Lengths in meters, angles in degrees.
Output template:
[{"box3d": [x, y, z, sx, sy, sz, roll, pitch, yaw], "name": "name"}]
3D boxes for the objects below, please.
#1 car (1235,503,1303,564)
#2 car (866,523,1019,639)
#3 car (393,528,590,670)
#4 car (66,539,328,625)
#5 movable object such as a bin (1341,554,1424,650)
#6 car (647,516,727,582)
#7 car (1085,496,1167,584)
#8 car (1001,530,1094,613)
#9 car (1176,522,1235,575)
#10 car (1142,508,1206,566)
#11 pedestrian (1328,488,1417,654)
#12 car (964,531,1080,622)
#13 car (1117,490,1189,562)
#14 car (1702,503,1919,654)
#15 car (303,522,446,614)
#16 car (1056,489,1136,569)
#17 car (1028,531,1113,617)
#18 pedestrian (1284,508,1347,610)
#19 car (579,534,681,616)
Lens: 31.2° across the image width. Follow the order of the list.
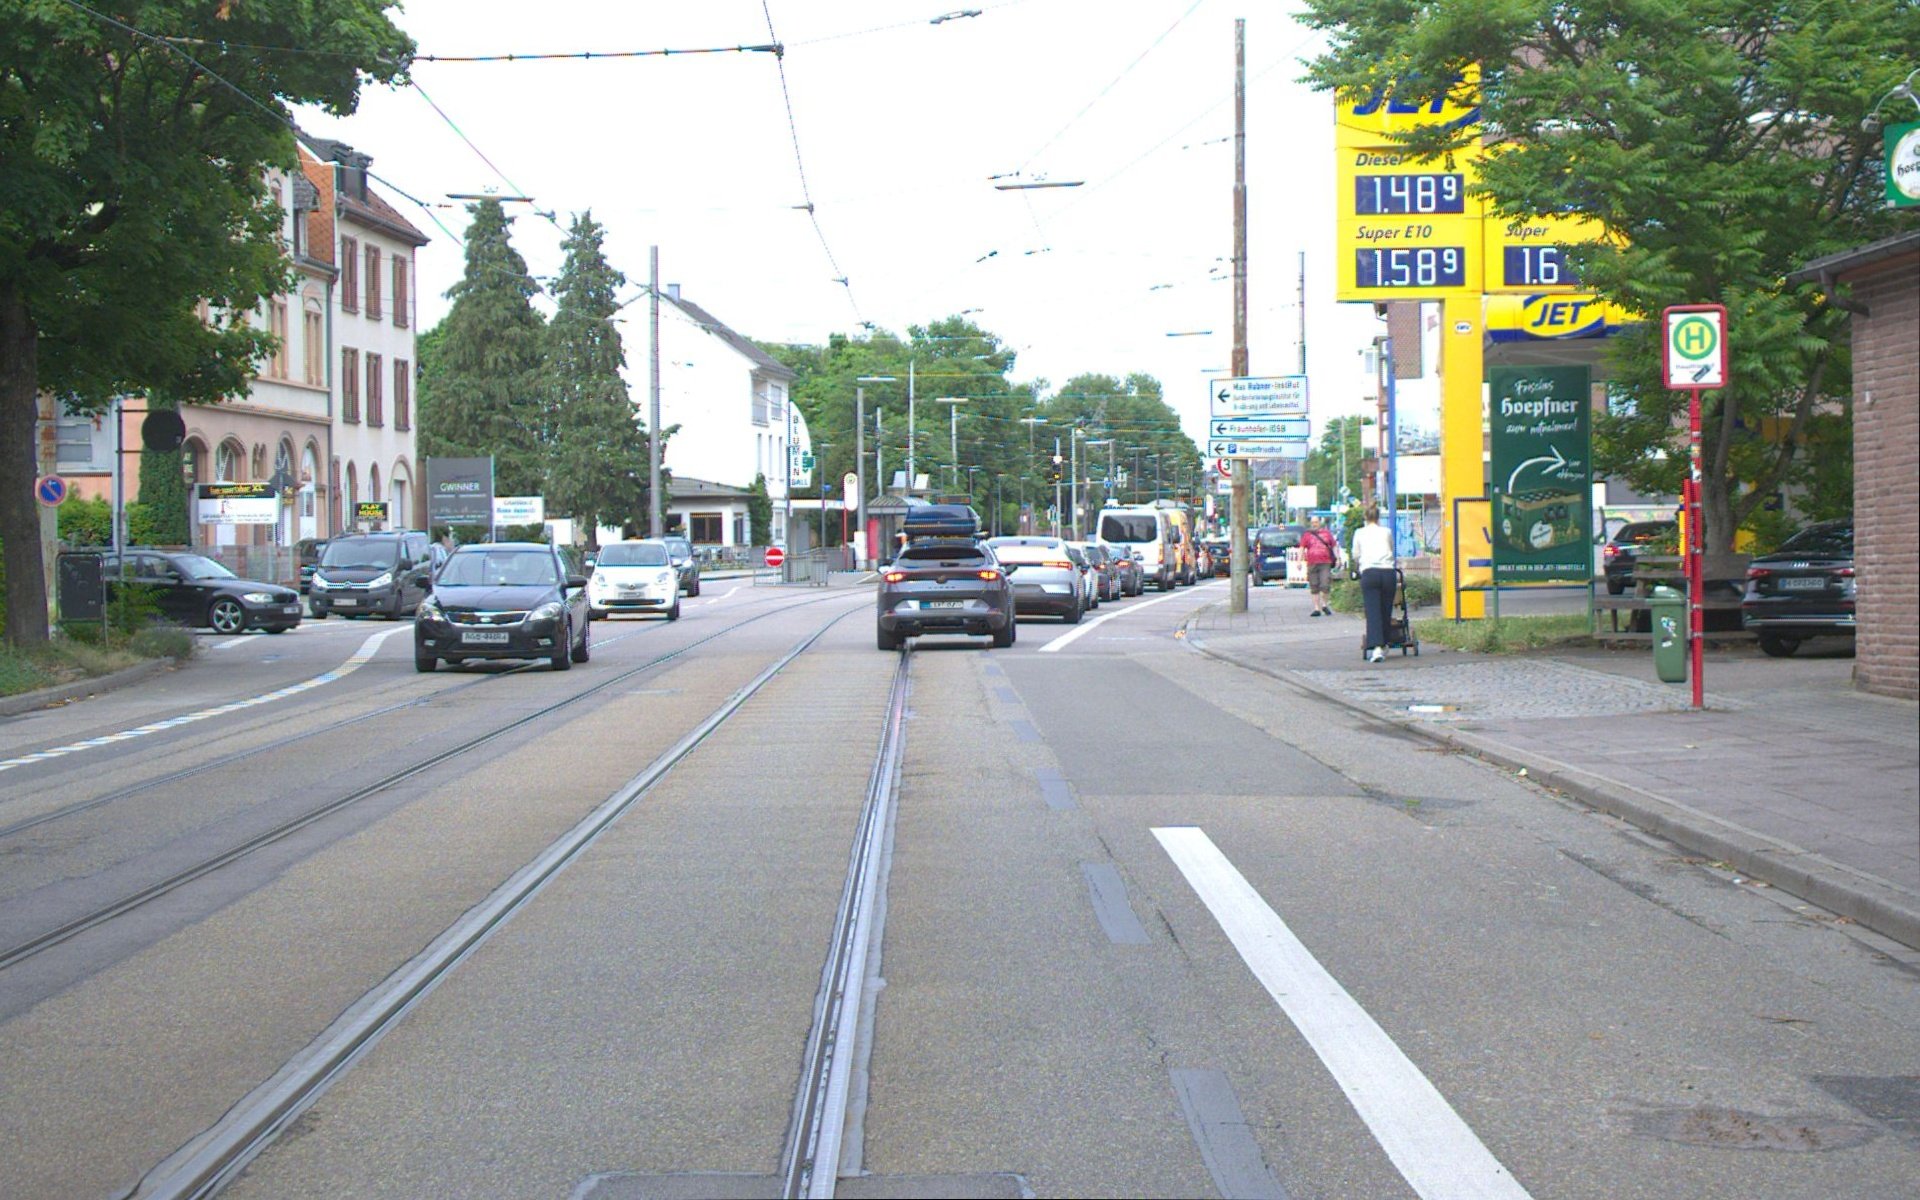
[{"box3d": [9.469, -2.041, 105.522, 1.874, 1.817, 4.096, 1, 1, 3], "name": "car"}, {"box3d": [-0.233, -0.281, 47.382, 1.990, 1.492, 4.326, 1, 1, 0], "name": "car"}, {"box3d": [-5.480, -0.049, 40.655, 1.747, 1.481, 4.063, -2, 2, 0], "name": "car"}, {"box3d": [-12.759, -0.306, 57.513, 3.924, 1.383, 1.800, 0, 1, 21], "name": "car"}, {"box3d": [4.800, 0.017, 39.043, 0.768, 1.035, 1.023, -3, 1, 14], "name": "movable object such as a bin"}, {"box3d": [-7.488, -1.404, 94.611, 1.827, 1.731, 4.335, -1, 1, 0], "name": "car"}, {"box3d": [4.658, -1.689, 97.126, 2.216, 2.415, 4.951, 1, 1, 2], "name": "car"}, {"box3d": [1.913, -0.642, 75.401, 1.969, 1.750, 3.838, 1, 1, 1], "name": "car"}, {"box3d": [9.646, -2.027, 135.126, 1.993, 2.007, 4.000, 1, 1, 0], "name": "car"}, {"box3d": [7.663, -2.257, 123.240, 1.993, 2.007, 4.000, 1, 1, 0], "name": "car"}, {"box3d": [4.601, -0.334, 38.309, 0.768, 1.790, 1.161, -3, 1, 14], "name": "pedestrian"}, {"box3d": [1.078, -0.451, 61.744, 1.981, 1.544, 4.183, 1, 1, 0], "name": "car"}, {"box3d": [5.979, -2.279, 106.661, 2.139, 2.138, 4.743, 1, 1, 3], "name": "car"}, {"box3d": [9.900, -0.277, 36.243, 1.934, 1.402, 4.573, 0, 3, 44], "name": "car"}, {"box3d": [-12.548, -0.700, 73.998, 1.992, 1.880, 4.998, 1, 1, 3], "name": "car"}, {"box3d": [3.561, -1.842, 89.602, 1.994, 2.007, 4.000, 1, 1, 3], "name": "car"}, {"box3d": [2.667, -0.643, 82.961, 1.993, 2.007, 4.000, 1, 1, 2], "name": "car"}, {"box3d": [6.238, -0.728, 60.351, 0.972, 1.732, 0.861, -3, 0, 3], "name": "pedestrian"}, {"box3d": [-6.362, -0.500, 66.609, 1.703, 1.524, 3.742, 0, 1, -2], "name": "car"}]
